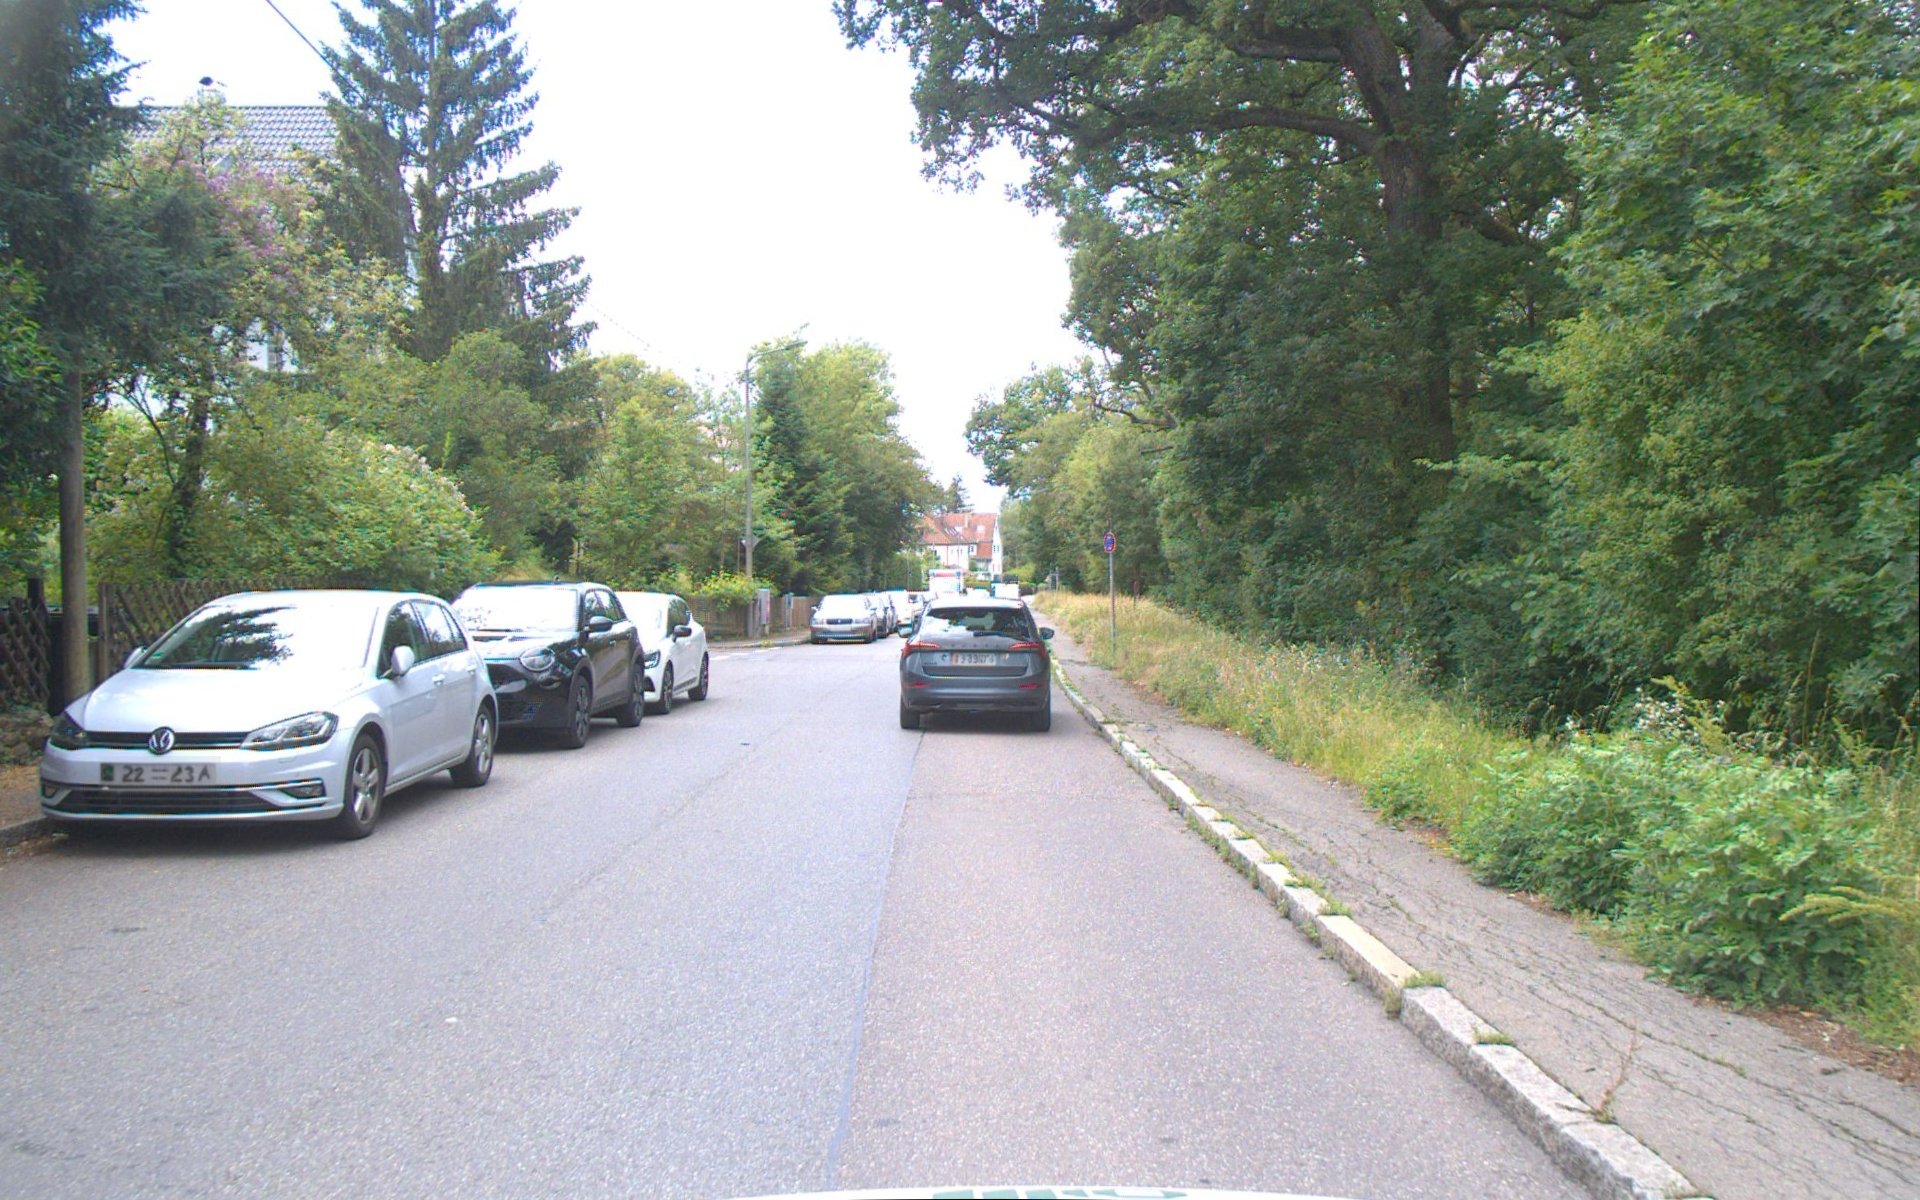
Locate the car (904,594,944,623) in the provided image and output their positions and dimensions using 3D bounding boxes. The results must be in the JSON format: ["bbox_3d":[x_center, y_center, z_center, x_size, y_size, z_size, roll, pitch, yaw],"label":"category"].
[{"bbox_3d":[-1.946,0.445,91.439,1.760,1.531,4.865,-2,0,4],"label":"car"}]

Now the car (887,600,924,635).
[{"bbox_3d":[-2.609,0.814,78.849,1.686,1.531,4.006,-2,0,-2],"label":"car"}]

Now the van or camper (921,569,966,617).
[{"bbox_3d":[-1.093,-0.457,104.774,2.407,2.945,7.162,0,0,-4],"label":"van or camper"}]

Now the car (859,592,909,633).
[{"bbox_3d":[-3.105,0.486,68.550,1.877,1.589,4.603,-2,0,-1],"label":"car"}]

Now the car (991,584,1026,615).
[{"bbox_3d":[3.149,-0.042,107.797,2.029,1.956,4.921,1,0,-1],"label":"car"}]

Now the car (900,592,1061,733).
[{"bbox_3d":[0.186,0.658,19.852,1.693,1.464,4.323,1,1,-1],"label":"car"}]

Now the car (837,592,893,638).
[{"bbox_3d":[-3.152,0.484,55.481,1.699,1.464,4.262,-1,0,-1],"label":"car"}]

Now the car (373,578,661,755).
[{"bbox_3d":[-4.258,0.576,16.561,1.747,1.526,4.015,1,0,0],"label":"car"}]

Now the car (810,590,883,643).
[{"bbox_3d":[-3.345,0.463,49.400,1.810,1.464,4.910,-1,0,0],"label":"car"}]

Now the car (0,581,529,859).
[{"bbox_3d":[-4.301,0.625,11.053,1.747,1.464,4.323,1,1,-1],"label":"car"}]

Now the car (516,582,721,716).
[{"bbox_3d":[-4.261,0.562,21.240,1.747,1.526,4.015,1,0,0],"label":"car"}]

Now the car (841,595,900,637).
[{"bbox_3d":[-3.268,0.554,60.861,1.796,1.464,4.117,-1,0,2],"label":"car"}]
